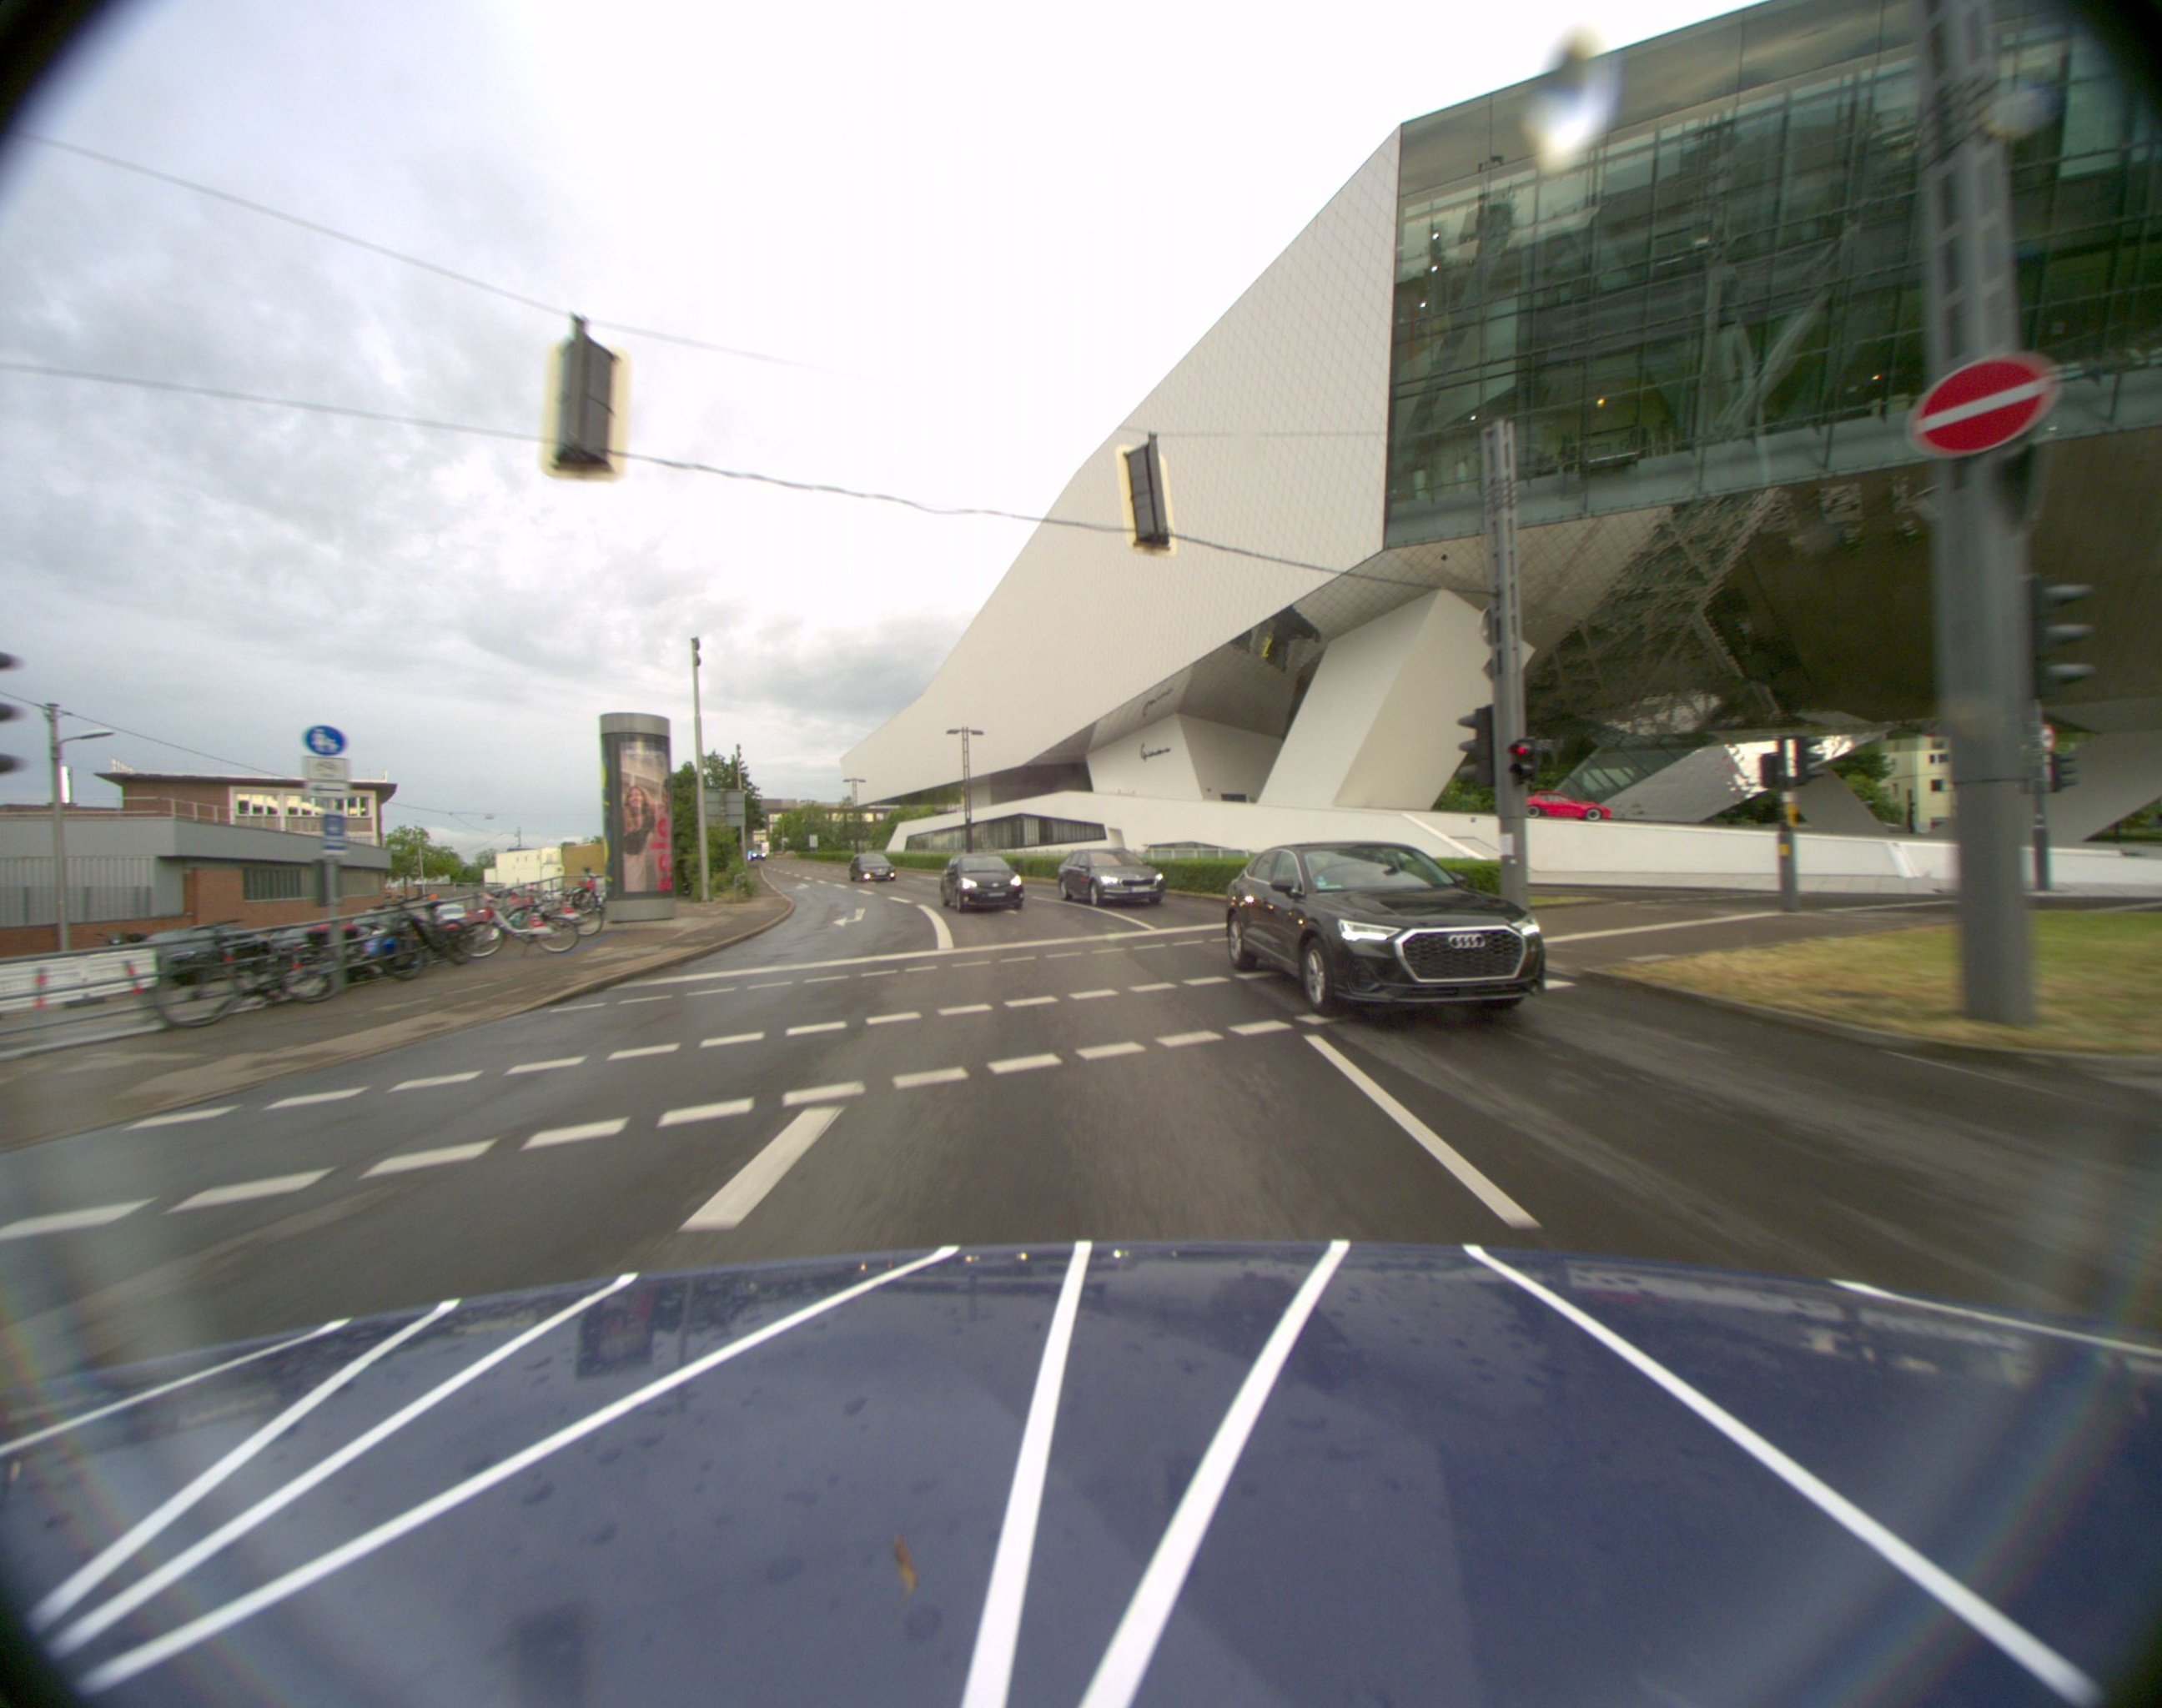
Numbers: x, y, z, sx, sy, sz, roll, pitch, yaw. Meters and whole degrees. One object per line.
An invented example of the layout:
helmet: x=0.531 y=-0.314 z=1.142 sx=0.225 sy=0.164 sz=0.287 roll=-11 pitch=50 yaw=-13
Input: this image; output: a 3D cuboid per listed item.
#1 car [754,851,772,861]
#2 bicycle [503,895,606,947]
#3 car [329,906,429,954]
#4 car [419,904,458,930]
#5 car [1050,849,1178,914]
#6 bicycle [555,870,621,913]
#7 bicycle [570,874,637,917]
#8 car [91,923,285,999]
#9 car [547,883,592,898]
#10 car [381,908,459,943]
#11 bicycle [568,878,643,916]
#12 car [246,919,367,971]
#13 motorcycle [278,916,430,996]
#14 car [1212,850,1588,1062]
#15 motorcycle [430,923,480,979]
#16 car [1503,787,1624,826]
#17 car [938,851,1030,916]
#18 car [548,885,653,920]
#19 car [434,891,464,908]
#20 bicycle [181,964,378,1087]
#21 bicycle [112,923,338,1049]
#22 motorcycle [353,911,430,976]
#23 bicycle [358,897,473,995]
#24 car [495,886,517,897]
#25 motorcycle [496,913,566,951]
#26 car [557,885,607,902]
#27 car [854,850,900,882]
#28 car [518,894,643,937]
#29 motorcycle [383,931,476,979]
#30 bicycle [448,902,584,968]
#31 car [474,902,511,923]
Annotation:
car: x=-47.691 y=0.297 z=113.827 sx=1.821 sy=1.430 sz=4.293 roll=-2 pitch=-1 yaw=-31
bicycle: x=-10.548 y=1.328 z=15.261 sx=1.617 sy=0.916 sz=0.421 roll=-2 pitch=1 yaw=-13
car: x=-31.490 y=3.352 z=34.251 sx=1.786 sy=1.657 sz=4.497 roll=-3 pitch=0 yaw=-22
car: x=-42.416 y=4.133 z=50.234 sx=1.736 sy=1.381 sz=3.990 roll=-3 pitch=0 yaw=-37
car: x=0.740 y=0.642 z=20.344 sx=1.820 sy=1.430 sz=4.294 roll=-4 pitch=2 yaw=-21
bicycle: x=-14.076 y=1.055 z=21.722 sx=1.547 sy=1.148 sz=0.450 roll=-1 pitch=2 yaw=-30
bicycle: x=-12.889 y=1.108 z=20.561 sx=0.442 sy=1.068 sz=1.465 roll=1 pitch=2 yaw=34
car: x=-25.603 y=2.982 z=22.047 sx=1.892 sy=1.542 sz=4.499 roll=-3 pitch=0 yaw=-25
car: x=-58.280 y=4.186 z=86.568 sx=4.007 sy=1.417 sz=1.716 roll=-3 pitch=0 yaw=-39
car: x=-34.227 y=3.672 z=39.468 sx=1.722 sy=1.396 sz=4.267 roll=-3 pitch=0 yaw=-22
bicycle: x=-13.218 y=1.180 z=21.161 sx=0.485 sy=0.916 sz=1.707 roll=0 pitch=1 yaw=29
car: x=-28.403 y=3.275 z=28.032 sx=1.722 sy=1.417 sz=3.992 roll=-3 pitch=0 yaw=-25
motorcycle: x=-10.629 y=1.460 z=11.207 sx=0.547 sy=0.890 sz=1.743 roll=-2 pitch=2 yaw=-2
car: x=2.765 y=0.757 z=7.824 sx=1.757 sy=1.509 sz=4.393 roll=-1 pitch=0 yaw=-4
motorcycle: x=-12.250 y=1.874 z=14.901 sx=0.403 sy=0.885 sz=1.537 roll=-3 pitch=2 yaw=-27
car: x=21.963 y=-2.166 z=34.791 sx=4.235 sy=1.377 sz=2.002 roll=6 pitch=3 yaw=18
car: x=-2.751 y=0.713 z=20.756 sx=1.696 sy=1.499 sz=4.004 roll=-3 pitch=2 yaw=-18
car: x=-24.114 y=2.417 z=38.261 sx=4.000 sy=1.417 sz=1.719 roll=-3 pitch=0 yaw=-10
car: x=-59.860 y=4.297 z=71.926 sx=3.989 sy=1.417 sz=1.724 roll=-3 pitch=0 yaw=45
bicycle: x=-9.865 y=2.067 z=9.459 sx=0.347 sy=1.078 sz=1.745 roll=-1 pitch=2 yaw=9
bicycle: x=-9.612 y=1.436 z=8.643 sx=0.347 sy=1.078 sz=1.745 roll=-1 pitch=2 yaw=9
motorcycle: x=-11.396 y=1.457 z=12.595 sx=0.435 sy=0.885 sz=1.262 roll=-3 pitch=2 yaw=-19
bicycle: x=-9.848 y=1.309 z=11.332 sx=0.401 sy=1.168 sz=2.012 roll=-2 pitch=2 yaw=-16
car: x=-82.481 y=5.325 z=108.991 sx=3.989 sy=1.417 sz=1.724 roll=-3 pitch=0 yaw=41
motorcycle: x=-16.407 y=2.306 z=22.695 sx=1.619 sy=0.917 sz=0.420 roll=-5 pitch=3 yaw=-39
car: x=-49.957 y=3.915 z=76.137 sx=4.007 sy=1.417 sz=1.716 roll=-3 pitch=0 yaw=-39
car: x=-10.782 y=0.600 z=39.919 sx=1.751 sy=1.466 sz=4.060 roll=-4 pitch=2 yaw=-22
car: x=-21.104 y=2.571 z=32.189 sx=4.000 sy=1.417 sz=1.719 roll=-3 pitch=0 yaw=-10
motorcycle: x=-15.878 y=2.440 z=18.560 sx=1.619 sy=0.917 sz=0.481 roll=-4 pitch=3 yaw=-32
bicycle: x=-9.481 y=1.348 z=12.806 sx=1.747 sy=0.956 sz=0.421 roll=-2 pitch=2 yaw=-17
car: x=-47.061 y=4.666 z=60.776 sx=4.217 sy=1.417 sz=1.724 roll=-3 pitch=0 yaw=45
